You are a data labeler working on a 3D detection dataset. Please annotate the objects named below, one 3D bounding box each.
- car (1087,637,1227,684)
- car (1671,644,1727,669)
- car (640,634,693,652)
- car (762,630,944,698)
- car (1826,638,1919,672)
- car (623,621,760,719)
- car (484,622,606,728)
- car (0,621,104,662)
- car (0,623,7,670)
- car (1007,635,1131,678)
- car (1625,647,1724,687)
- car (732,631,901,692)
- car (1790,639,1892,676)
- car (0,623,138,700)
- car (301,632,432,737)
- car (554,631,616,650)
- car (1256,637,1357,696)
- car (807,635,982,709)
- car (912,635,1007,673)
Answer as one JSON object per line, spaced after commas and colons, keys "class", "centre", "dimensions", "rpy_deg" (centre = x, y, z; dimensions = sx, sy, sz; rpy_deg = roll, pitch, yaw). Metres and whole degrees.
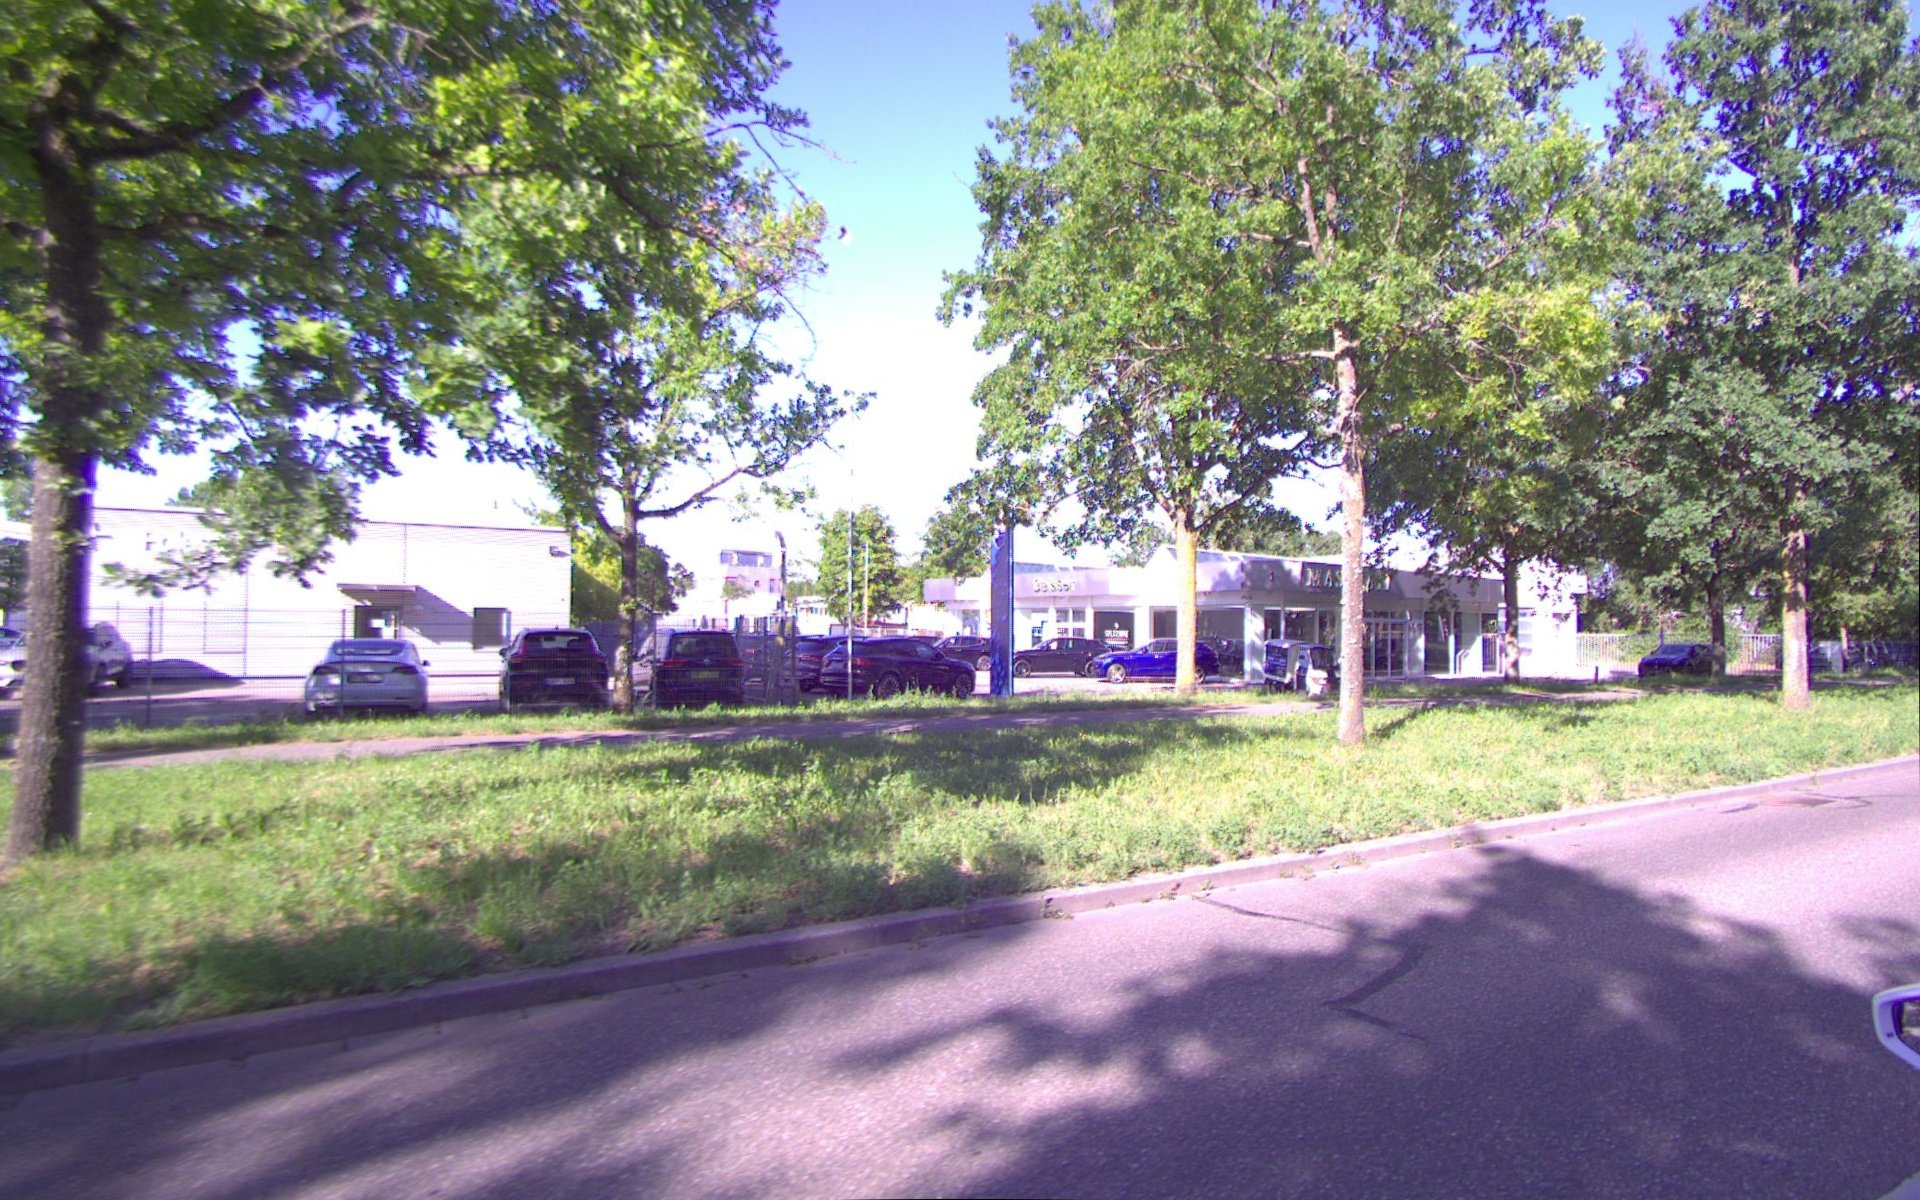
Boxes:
{"class": "car", "centre": [7.496, 2.306, 38.624], "dimensions": [5.153, 1.683, 2.001], "rpy_deg": [0, 0, 7]}
{"class": "car", "centre": [51.743, 3.908, 70.298], "dimensions": [4.843, 1.587, 1.978], "rpy_deg": [2, 0, -39]}
{"class": "car", "centre": [-27.654, 4.033, 94.689], "dimensions": [4.463, 1.683, 1.986], "rpy_deg": [1, -1, -28]}
{"class": "car", "centre": [-3.023, 1.794, 29.380], "dimensions": [1.973, 1.740, 5.228], "rpy_deg": [1, 0, 44]}
{"class": "car", "centre": [54.640, 3.246, 59.951], "dimensions": [1.981, 1.825, 4.160], "rpy_deg": [2, 0, -37]}
{"class": "car", "centre": [-5.762, 1.387, 21.244], "dimensions": [1.975, 1.765, 3.971], "rpy_deg": [2, 0, -27]}
{"class": "car", "centre": [-8.344, 1.397, 19.988], "dimensions": [1.839, 1.769, 3.970], "rpy_deg": [2, 0, -28]}
{"class": "car", "centre": [-36.957, 1.621, 39.730], "dimensions": [1.724, 1.539, 4.591], "rpy_deg": [1, 0, 45]}
{"class": "car", "centre": [-34.083, 1.502, 32.367], "dimensions": [1.718, 1.539, 4.606], "rpy_deg": [1, 0, 34]}
{"class": "car", "centre": [4.511, 2.354, 42.015], "dimensions": [4.914, 1.683, 1.999], "rpy_deg": [0, 0, -4]}
{"class": "car", "centre": [32.397, 3.010, 45.524], "dimensions": [4.961, 1.619, 1.982], "rpy_deg": [2, 0, -33]}
{"class": "car", "centre": [-4.535, 1.915, 32.372], "dimensions": [5.224, 1.712, 1.974], "rpy_deg": [2, 0, -44]}
{"class": "car", "centre": [48.472, 3.126, 55.309], "dimensions": [1.983, 1.825, 3.955], "rpy_deg": [2, 0, -39]}
{"class": "car", "centre": [-20.975, 1.379, 23.647], "dimensions": [1.730, 1.539, 3.970], "rpy_deg": [2, 0, -28]}
{"class": "car", "centre": [-10.823, 1.452, 18.573], "dimensions": [1.839, 1.539, 4.293], "rpy_deg": [2, 0, -28]}
{"class": "car", "centre": [-35.599, 3.832, 95.439], "dimensions": [5.363, 1.683, 1.986], "rpy_deg": [1, -1, -28]}
{"class": "car", "centre": [9.305, 1.765, 27.128], "dimensions": [1.401, 1.489, 2.568], "rpy_deg": [1, -2, -14]}
{"class": "car", "centre": [-1.657, 1.827, 26.605], "dimensions": [1.972, 1.697, 4.474], "rpy_deg": [1, 0, 43]}
{"class": "car", "centre": [-0.039, 2.558, 47.732], "dimensions": [4.231, 1.683, 1.996], "rpy_deg": [1, -1, -11]}
